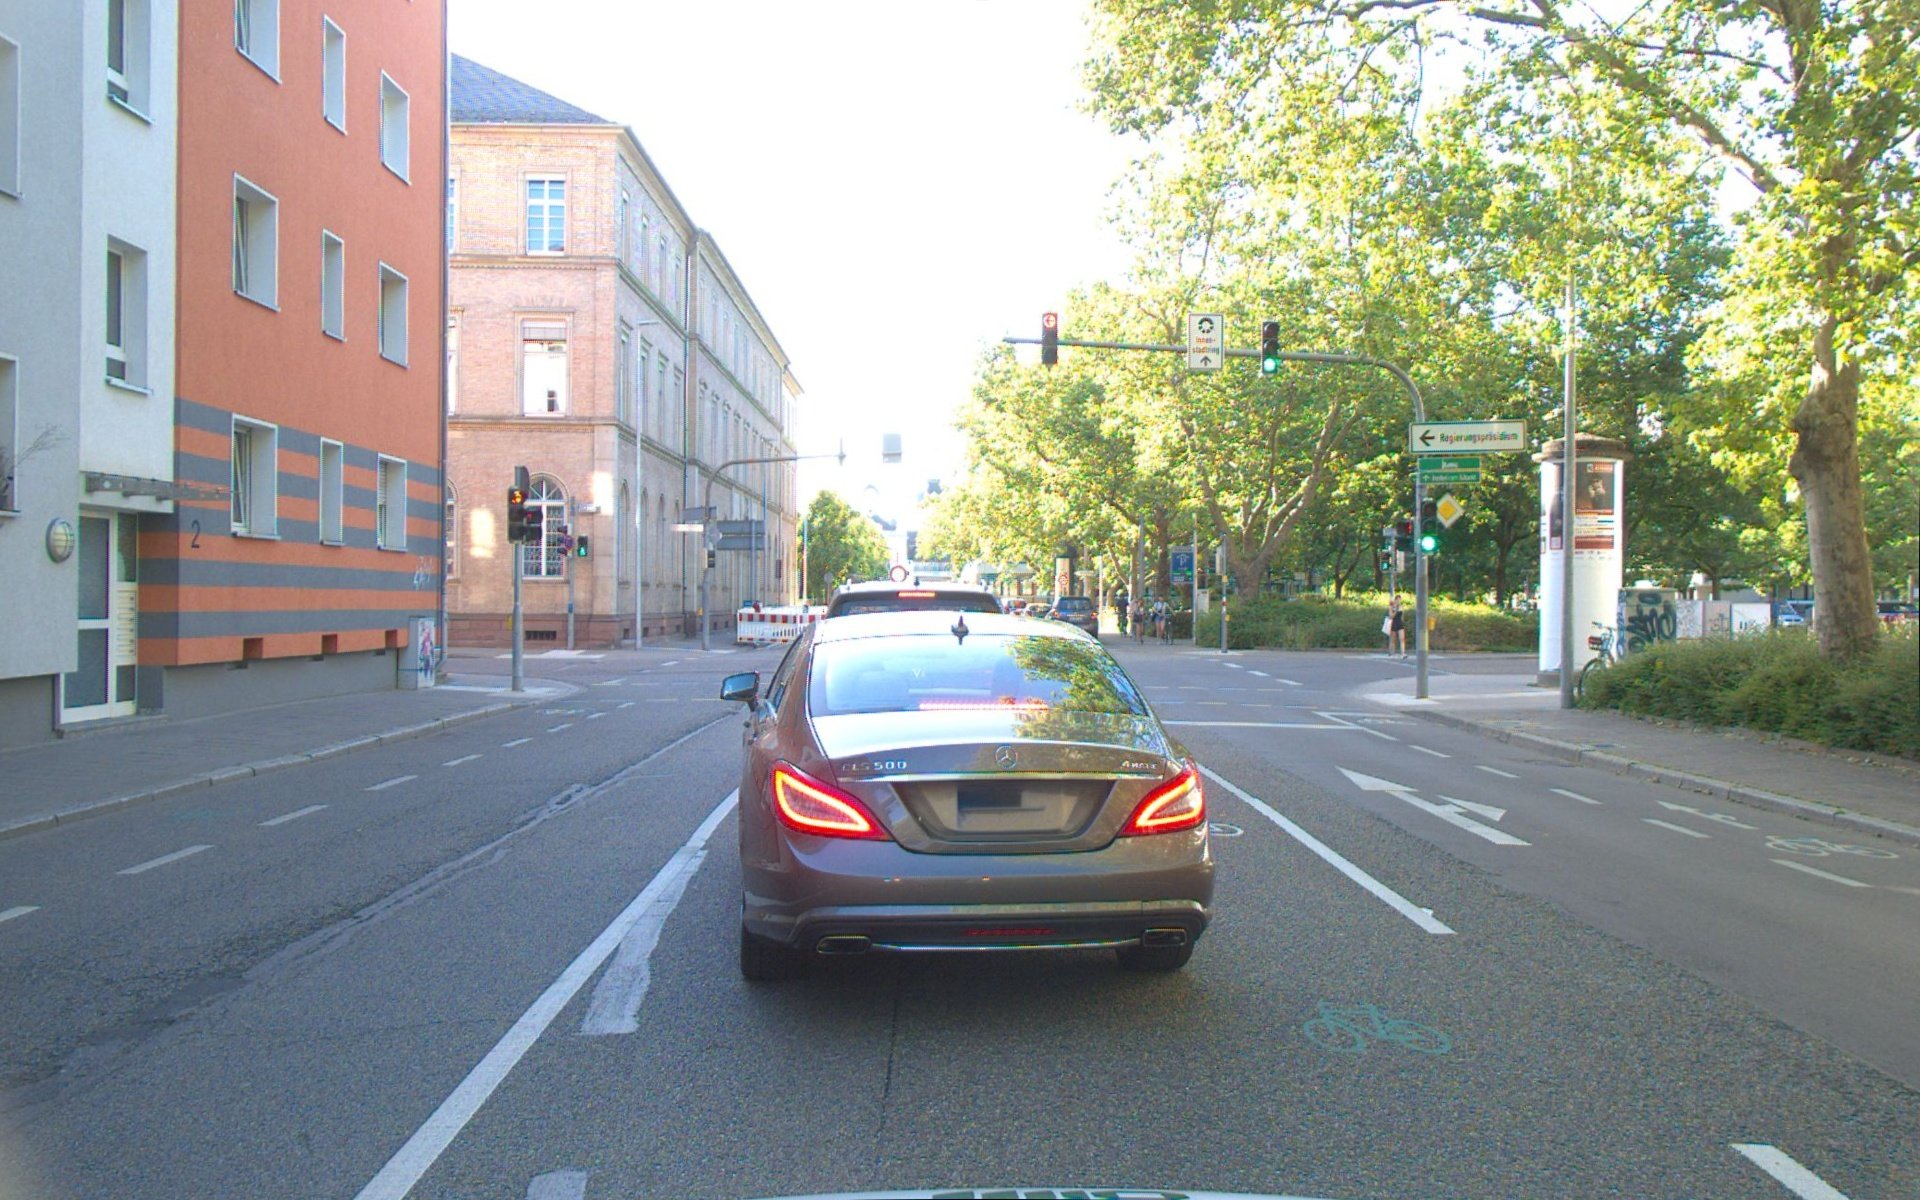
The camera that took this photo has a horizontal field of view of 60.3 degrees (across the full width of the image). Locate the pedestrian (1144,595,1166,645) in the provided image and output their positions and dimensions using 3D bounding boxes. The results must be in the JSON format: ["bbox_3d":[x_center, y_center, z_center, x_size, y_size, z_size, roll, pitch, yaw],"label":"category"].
[{"bbox_3d":[7.046,0.708,59.752,0.623,1.791,0.698,1,-1,-5],"label":"pedestrian"}]

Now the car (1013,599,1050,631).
[{"bbox_3d":[3.619,0.760,84.543,1.670,1.545,3.999,1,0,-1],"label":"car"}]

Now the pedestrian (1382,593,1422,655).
[{"bbox_3d":[11.471,0.624,42.966,0.625,1.572,0.906,1,-1,-16],"label":"pedestrian"}]

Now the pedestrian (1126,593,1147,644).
[{"bbox_3d":[6.363,0.674,59.673,0.623,1.828,0.698,1,-1,-5],"label":"pedestrian"}]

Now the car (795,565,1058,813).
[{"bbox_3d":[-0.264,0.619,13.592,1.823,1.712,3.999,1,0,-1],"label":"car"}]

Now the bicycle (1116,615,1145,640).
[{"bbox_3d":[6.645,1.054,64.555,0.811,0.940,2.616,1,0,-1],"label":"bicycle"}]

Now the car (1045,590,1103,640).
[{"bbox_3d":[4.302,0.537,62.935,1.823,1.794,4.481,1,0,-1],"label":"car"}]

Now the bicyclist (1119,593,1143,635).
[{"bbox_3d":[6.653,0.543,64.507,0.808,1.646,0.957,1,0,-1],"label":"bicyclist"}]

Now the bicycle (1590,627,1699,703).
[{"bbox_3d":[9.876,0.922,23.838,1.868,1.046,0.633,1,-1,-39],"label":"bicycle"}]

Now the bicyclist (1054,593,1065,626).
[{"bbox_3d":[6.327,0.604,105.076,0.583,2.075,0.565,1,-1,-5],"label":"bicyclist"}]

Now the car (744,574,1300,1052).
[{"bbox_3d":[-0.028,0.690,7.465,1.826,1.545,3.993,1,0,-8],"label":"car"}]

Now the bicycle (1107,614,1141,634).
[{"bbox_3d":[6.764,0.989,68.089,0.709,0.805,1.925,1,0,27],"label":"bicycle"}]

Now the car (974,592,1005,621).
[{"bbox_3d":[1.749,0.376,98.860,1.696,1.691,3.680,1,0,-1],"label":"car"}]

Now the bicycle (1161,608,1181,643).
[{"bbox_3d":[7.591,0.904,59.413,0.472,1.223,1.606,1,0,-1],"label":"bicycle"}]

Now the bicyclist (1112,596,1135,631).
[{"bbox_3d":[6.740,0.554,68.059,0.719,1.422,0.697,1,-1,28],"label":"bicyclist"}]
